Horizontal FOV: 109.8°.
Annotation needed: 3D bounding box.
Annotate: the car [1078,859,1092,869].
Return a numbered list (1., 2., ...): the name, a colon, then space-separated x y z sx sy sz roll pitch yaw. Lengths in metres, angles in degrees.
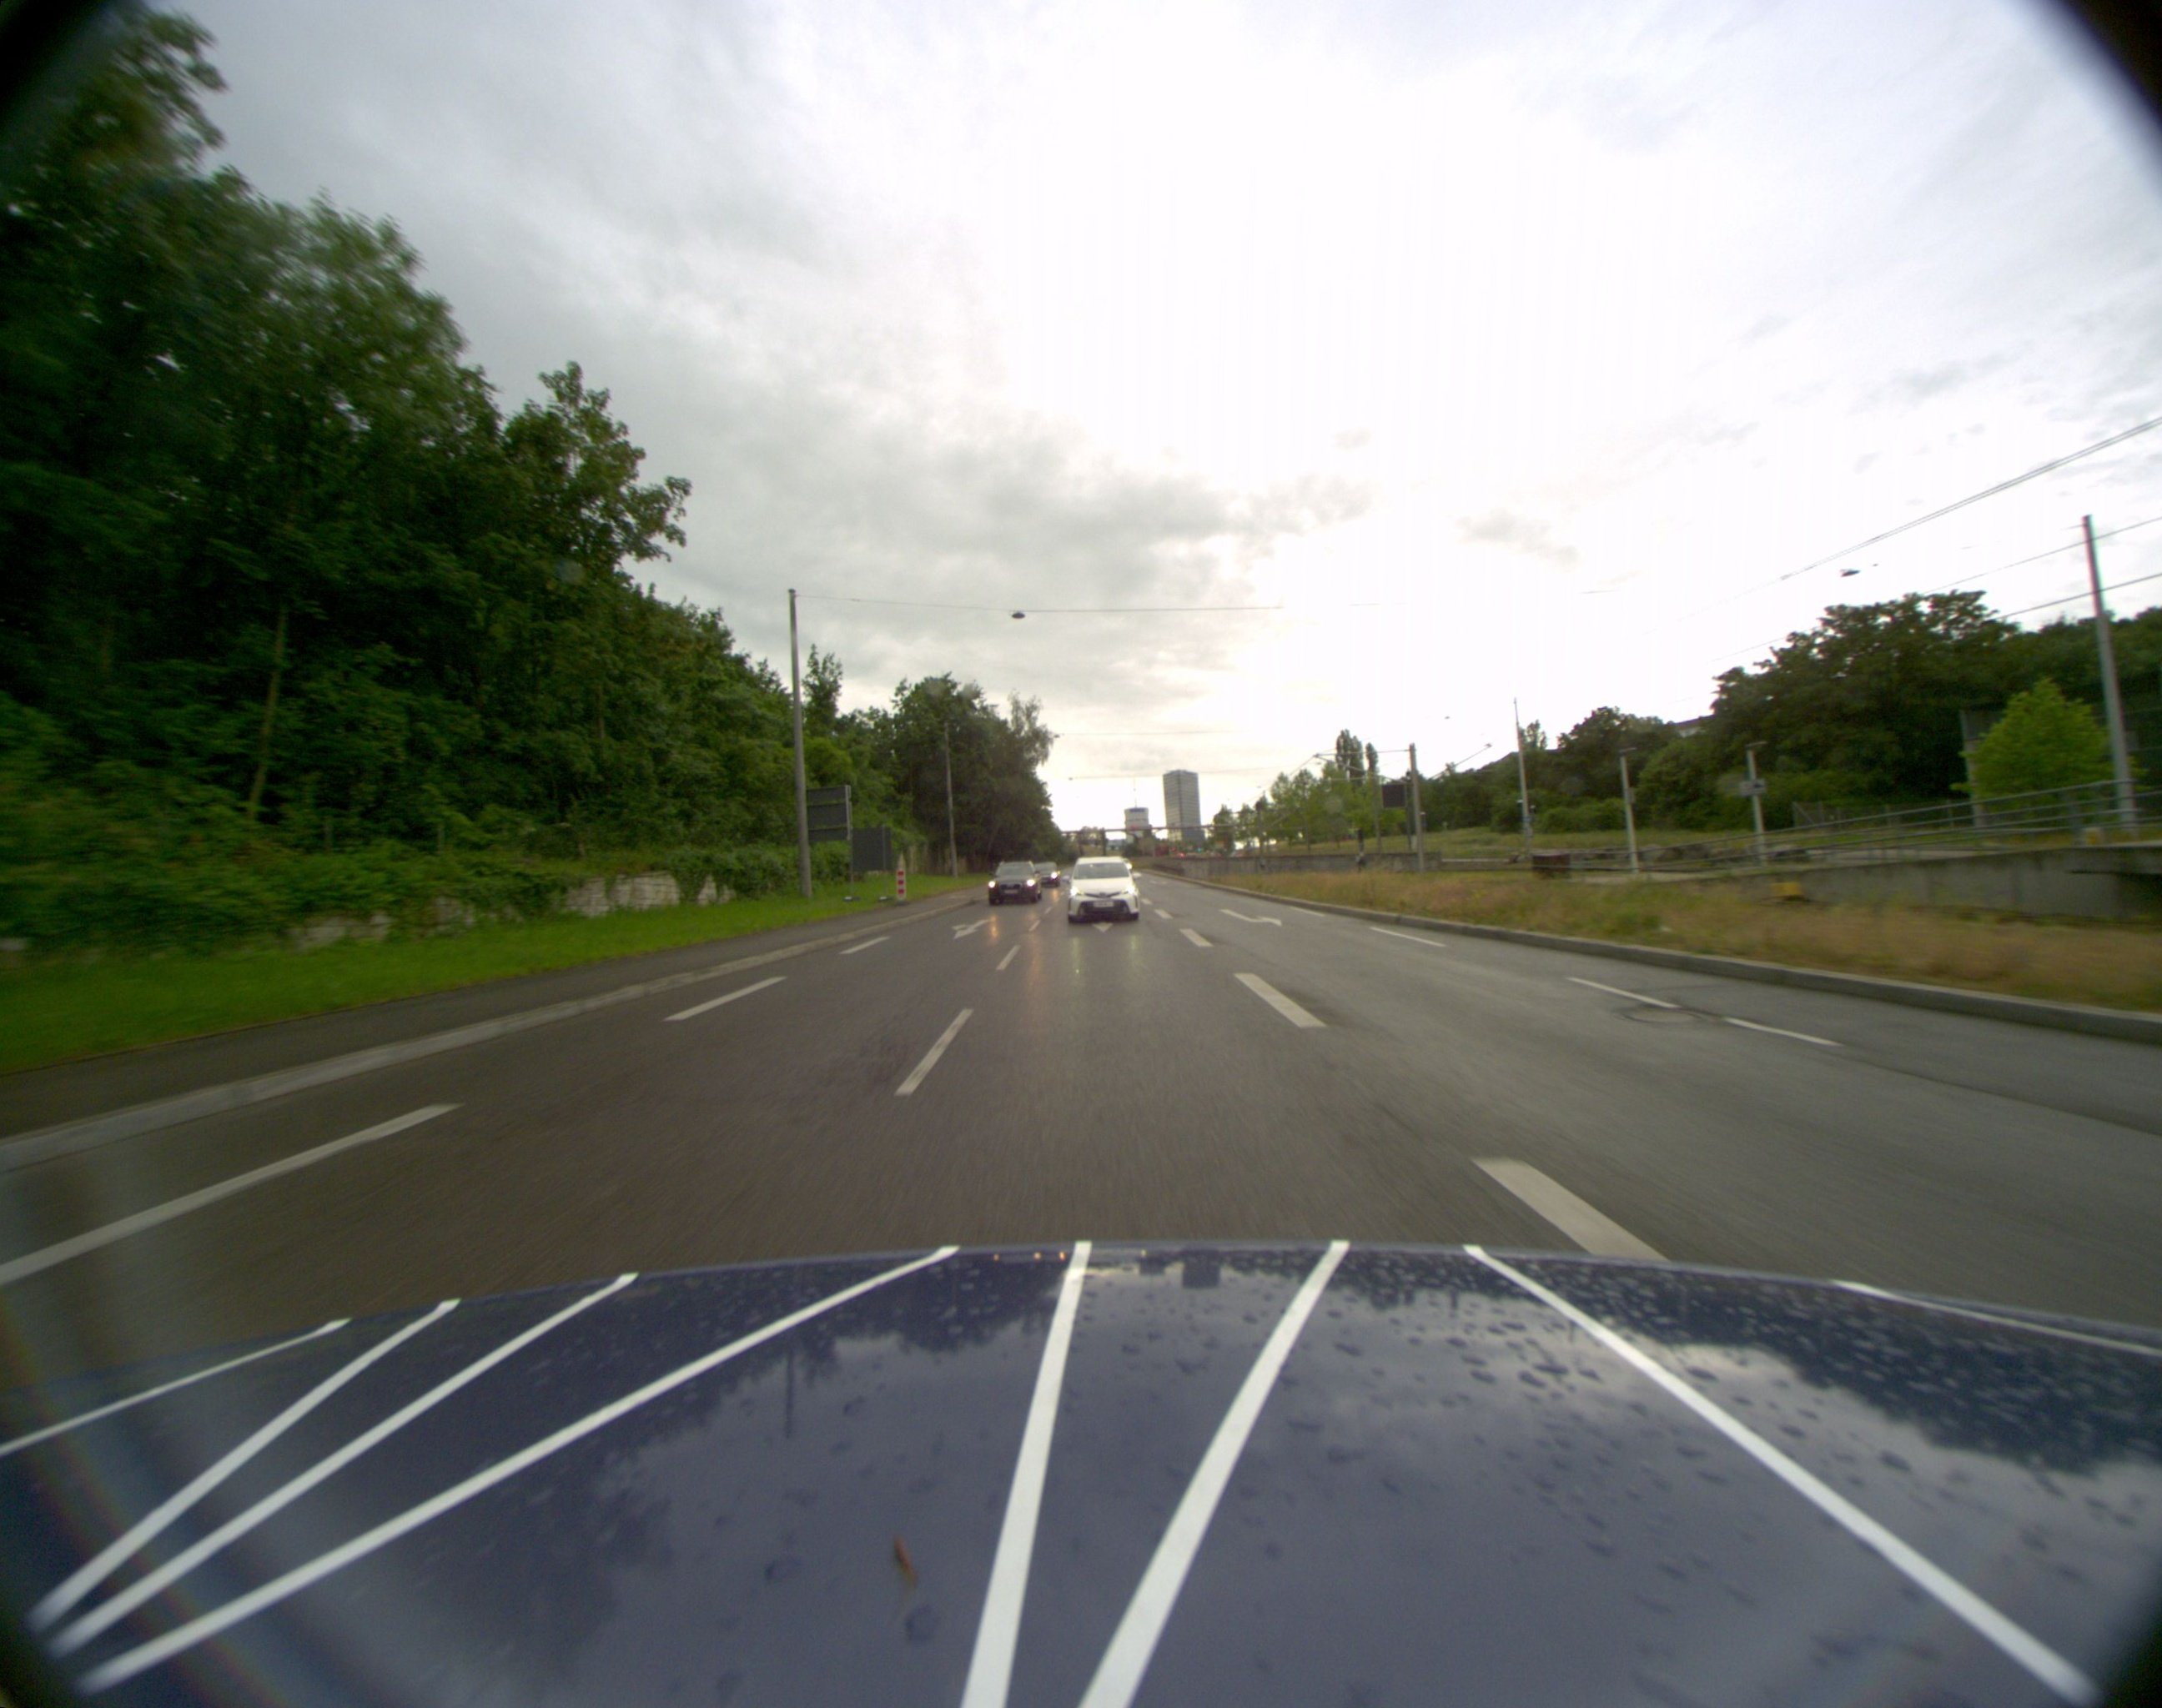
1. car: 0.593 1.496 114.546 1.802 1.462 4.000 -3 -1 -3

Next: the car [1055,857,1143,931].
1. car: 0.367 0.957 19.898 1.857 1.741 3.998 0 0 -5

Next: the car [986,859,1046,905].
1. car: -2.452 1.043 29.757 1.856 1.578 4.000 -3 0 1

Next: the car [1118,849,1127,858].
1. car: 8.280 -0.085 151.954 1.801 1.462 4.002 -3 -1 3

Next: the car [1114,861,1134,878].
1. car: 4.257 1.495 75.674 1.738 1.578 4.000 -3 0 1

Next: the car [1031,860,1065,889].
1. car: -1.930 1.182 45.603 1.738 1.578 4.000 -3 0 1

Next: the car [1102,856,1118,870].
1. car: 3.425 1.079 89.597 1.738 1.578 4.000 -3 0 1
